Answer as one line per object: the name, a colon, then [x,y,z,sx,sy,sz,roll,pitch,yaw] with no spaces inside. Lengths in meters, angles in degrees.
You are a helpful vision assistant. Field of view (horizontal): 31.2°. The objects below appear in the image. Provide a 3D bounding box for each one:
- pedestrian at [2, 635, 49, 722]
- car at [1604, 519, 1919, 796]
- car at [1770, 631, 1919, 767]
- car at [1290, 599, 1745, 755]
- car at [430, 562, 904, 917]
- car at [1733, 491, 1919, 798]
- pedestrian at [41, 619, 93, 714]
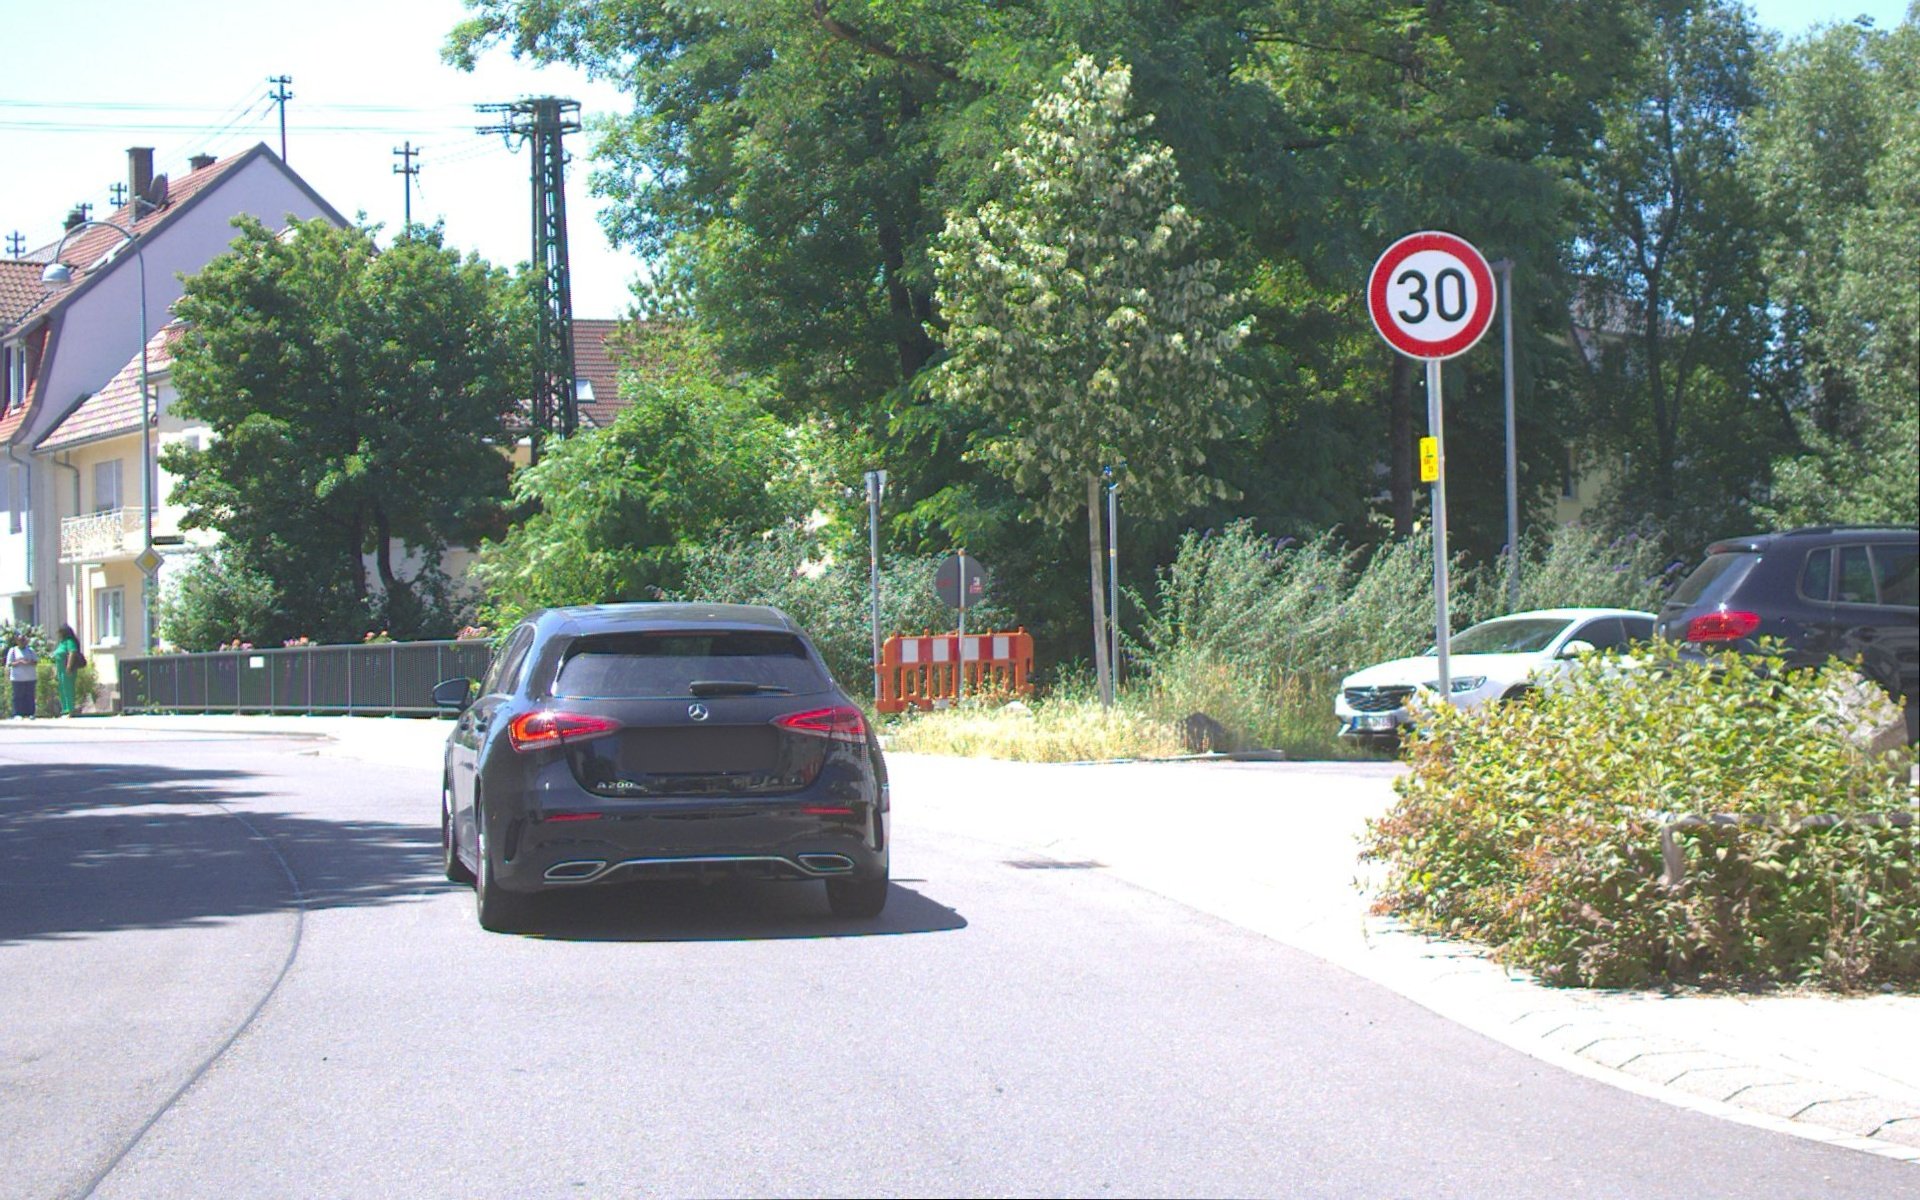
pedestrian: [-17.534,1.479,64.527,0.614,1.607,0.837,0,-1,-32]
car: [6.428,0.383,22.339,4.074,1.710,1.856,0,-1,-3]
car: [10.700,1.049,36.247,4.189,1.345,1.860,1,-3,-35]
car: [5.263,0.712,32.227,4.190,1.345,1.860,1,0,-38]
car: [-1.518,0.673,16.329,1.827,1.437,4.000,-1,-3,-11]
car: [6.806,0.274,20.166,4.074,1.710,1.856,0,-1,-3]
pedestrian: [-16.604,1.238,63.925,0.661,1.735,0.701,0,-2,-44]
